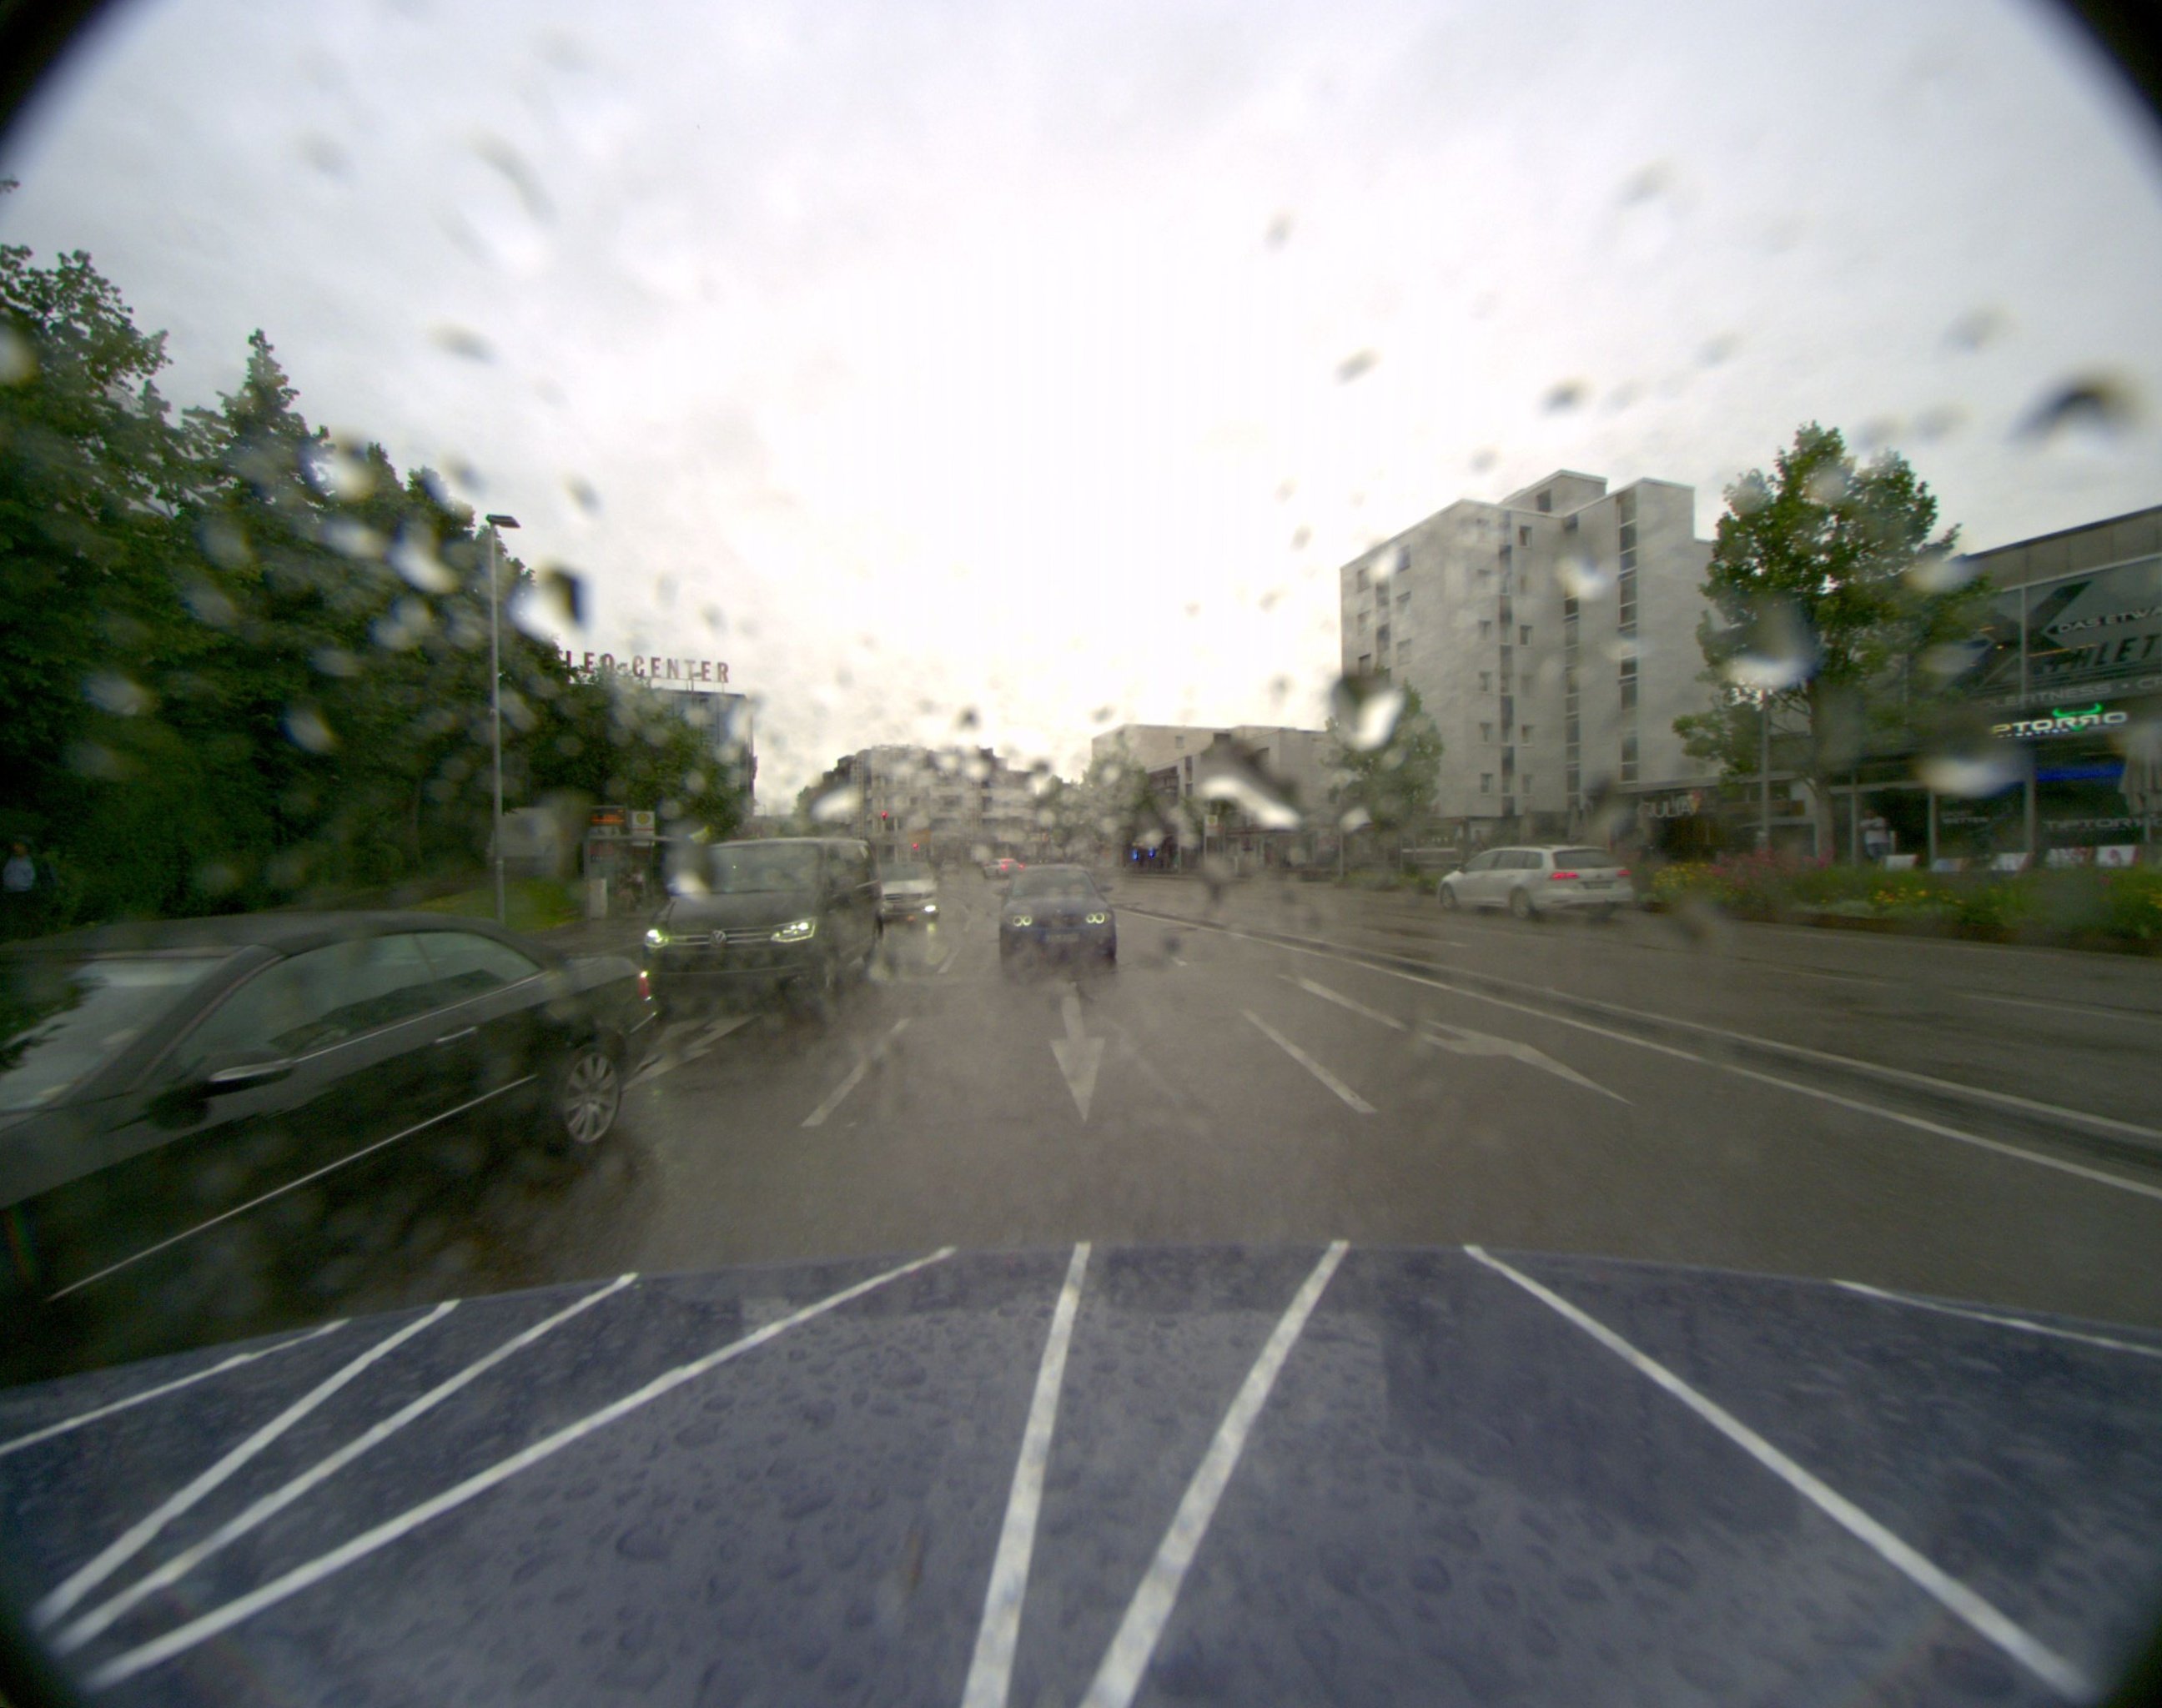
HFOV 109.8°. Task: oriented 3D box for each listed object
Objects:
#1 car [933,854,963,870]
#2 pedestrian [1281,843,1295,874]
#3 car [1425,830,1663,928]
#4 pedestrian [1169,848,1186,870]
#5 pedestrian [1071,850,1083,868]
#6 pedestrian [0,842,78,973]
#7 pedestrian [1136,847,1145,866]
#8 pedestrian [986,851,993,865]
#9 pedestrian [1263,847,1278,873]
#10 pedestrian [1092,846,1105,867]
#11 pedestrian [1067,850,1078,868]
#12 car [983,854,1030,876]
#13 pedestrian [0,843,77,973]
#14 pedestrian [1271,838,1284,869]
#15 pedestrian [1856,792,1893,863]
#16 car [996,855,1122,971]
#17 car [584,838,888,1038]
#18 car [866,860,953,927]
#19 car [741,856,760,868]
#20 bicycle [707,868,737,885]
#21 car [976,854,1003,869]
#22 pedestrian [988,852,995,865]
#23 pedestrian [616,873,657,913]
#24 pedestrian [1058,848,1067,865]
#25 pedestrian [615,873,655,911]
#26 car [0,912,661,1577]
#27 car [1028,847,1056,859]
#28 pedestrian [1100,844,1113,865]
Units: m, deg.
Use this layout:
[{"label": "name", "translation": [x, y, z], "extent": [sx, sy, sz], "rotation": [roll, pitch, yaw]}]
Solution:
[{"label": "car", "translation": [-12.943, 0.788, 73.771], "extent": [1.708, 1.457, 4.094], "rotation": [0, 0, -28]}, {"label": "pedestrian", "translation": [11.170, 0.258, 40.978], "extent": [0.537, 1.649, 0.479], "rotation": [-2, 1, -13]}, {"label": "car", "translation": [9.266, 0.434, 15.755], "extent": [1.891, 1.672, 4.503], "rotation": [-2, 1, -5]}, {"label": "pedestrian", "translation": [7.411, 0.405, 58.391], "extent": [1.011, 1.636, 0.725], "rotation": [-2, 1, -19]}, {"label": "pedestrian", "translation": [-0.407, 0.510, 78.758], "extent": [0.907, 1.904, 0.976], "rotation": [-2, 0, -20]}, {"label": "pedestrian", "translation": [-15.073, 0.742, 10.779], "extent": [0.675, 1.788, 0.672], "rotation": [-2, 4, -23]}, {"label": "pedestrian", "translation": [5.377, 0.214, 68.390], "extent": [0.550, 1.740, 0.679], "rotation": [-2, 0, -17]}, {"label": "pedestrian", "translation": [-11.729, 0.513, 97.268], "extent": [0.839, 1.733, 0.584], "rotation": [-2, 1, -13]}, {"label": "pedestrian", "translation": [10.782, 0.347, 43.311], "extent": [0.538, 1.496, 0.614], "rotation": [-2, 1, -42]}, {"label": "pedestrian", "translation": [1.665, 0.233, 71.845], "extent": [0.907, 2.002, 0.976], "rotation": [-2, 0, -20]}, {"label": "pedestrian", "translation": [-0.906, 0.517, 78.864], "extent": [0.906, 1.904, 0.976], "rotation": [-2, 0, -14]}, {"label": "car", "translation": [-5.534, 0.779, 55.865], "extent": [1.850, 1.452, 4.799], "rotation": [-2, 1, -25]}, {"label": "pedestrian", "translation": [-15.187, 0.757, 10.742], "extent": [0.850, 1.785, 0.795], "rotation": [-2, 1, -21]}, {"label": "pedestrian", "translation": [10.548, -0.048, 40.795], "extent": [0.480, 1.649, 0.536], "rotation": [-2, 1, -18]}, {"label": "pedestrian", "translation": [21.049, -0.695, 20.161], "extent": [0.427, 1.837, 0.501], "rotation": [-2, 1, -9]}, {"label": "car", "translation": [-0.429, 0.824, 12.344], "extent": [1.676, 1.534, 3.912], "rotation": [-2, 0, -4]}, {"label": "car", "translation": [-3.943, 0.793, 9.734], "extent": [2.001, 1.883, 4.584], "rotation": [-2, 1, -4]}, {"label": "car", "translation": [-4.726, 1.011, 21.532], "extent": [1.762, 1.540, 4.324], "rotation": [-4, 1, -5]}, {"label": "car", "translation": [-44.960, 1.128, 103.345], "extent": [1.904, 1.517, 3.991], "rotation": [-2, 0, -29]}, {"label": "bicycle", "translation": [-24.971, 1.565, 52.870], "extent": [1.838, 1.104, 0.693], "rotation": [0, 1, -21]}, {"label": "car", "translation": [-9.025, 0.687, 74.568], "extent": [1.764, 1.418, 4.880], "rotation": [-2, 1, -16]}, {"label": "pedestrian", "translation": [-11.609, 0.587, 98.653], "extent": [0.683, 1.733, 0.585], "rotation": [-2, 1, 7]}, {"label": "pedestrian", "translation": [-14.655, 1.270, 25.079], "extent": [1.034, 1.274, 0.691], "rotation": [1, 0, -21]}, {"label": "pedestrian", "translation": [-2.141, 0.312, 89.111], "extent": [0.761, 2.002, 0.863], "rotation": [-2, 0, -20]}, {"label": "pedestrian", "translation": [-15.086, 1.278, 25.710], "extent": [1.034, 1.274, 0.691], "rotation": [1, 0, -21]}, {"label": "car", "translation": [-3.507, 1.102, 2.657], "extent": [1.636, 1.378, 4.514], "rotation": [-2, 0, -2]}, {"label": "car", "translation": [-6.030, -0.106, 117.220], "extent": [3.902, 1.710, 1.743], "rotation": [-2, 1, -37]}, {"label": "pedestrian", "translation": [2.396, 0.073, 72.515], "extent": [0.907, 2.002, 0.976], "rotation": [-2, 0, -20]}]
